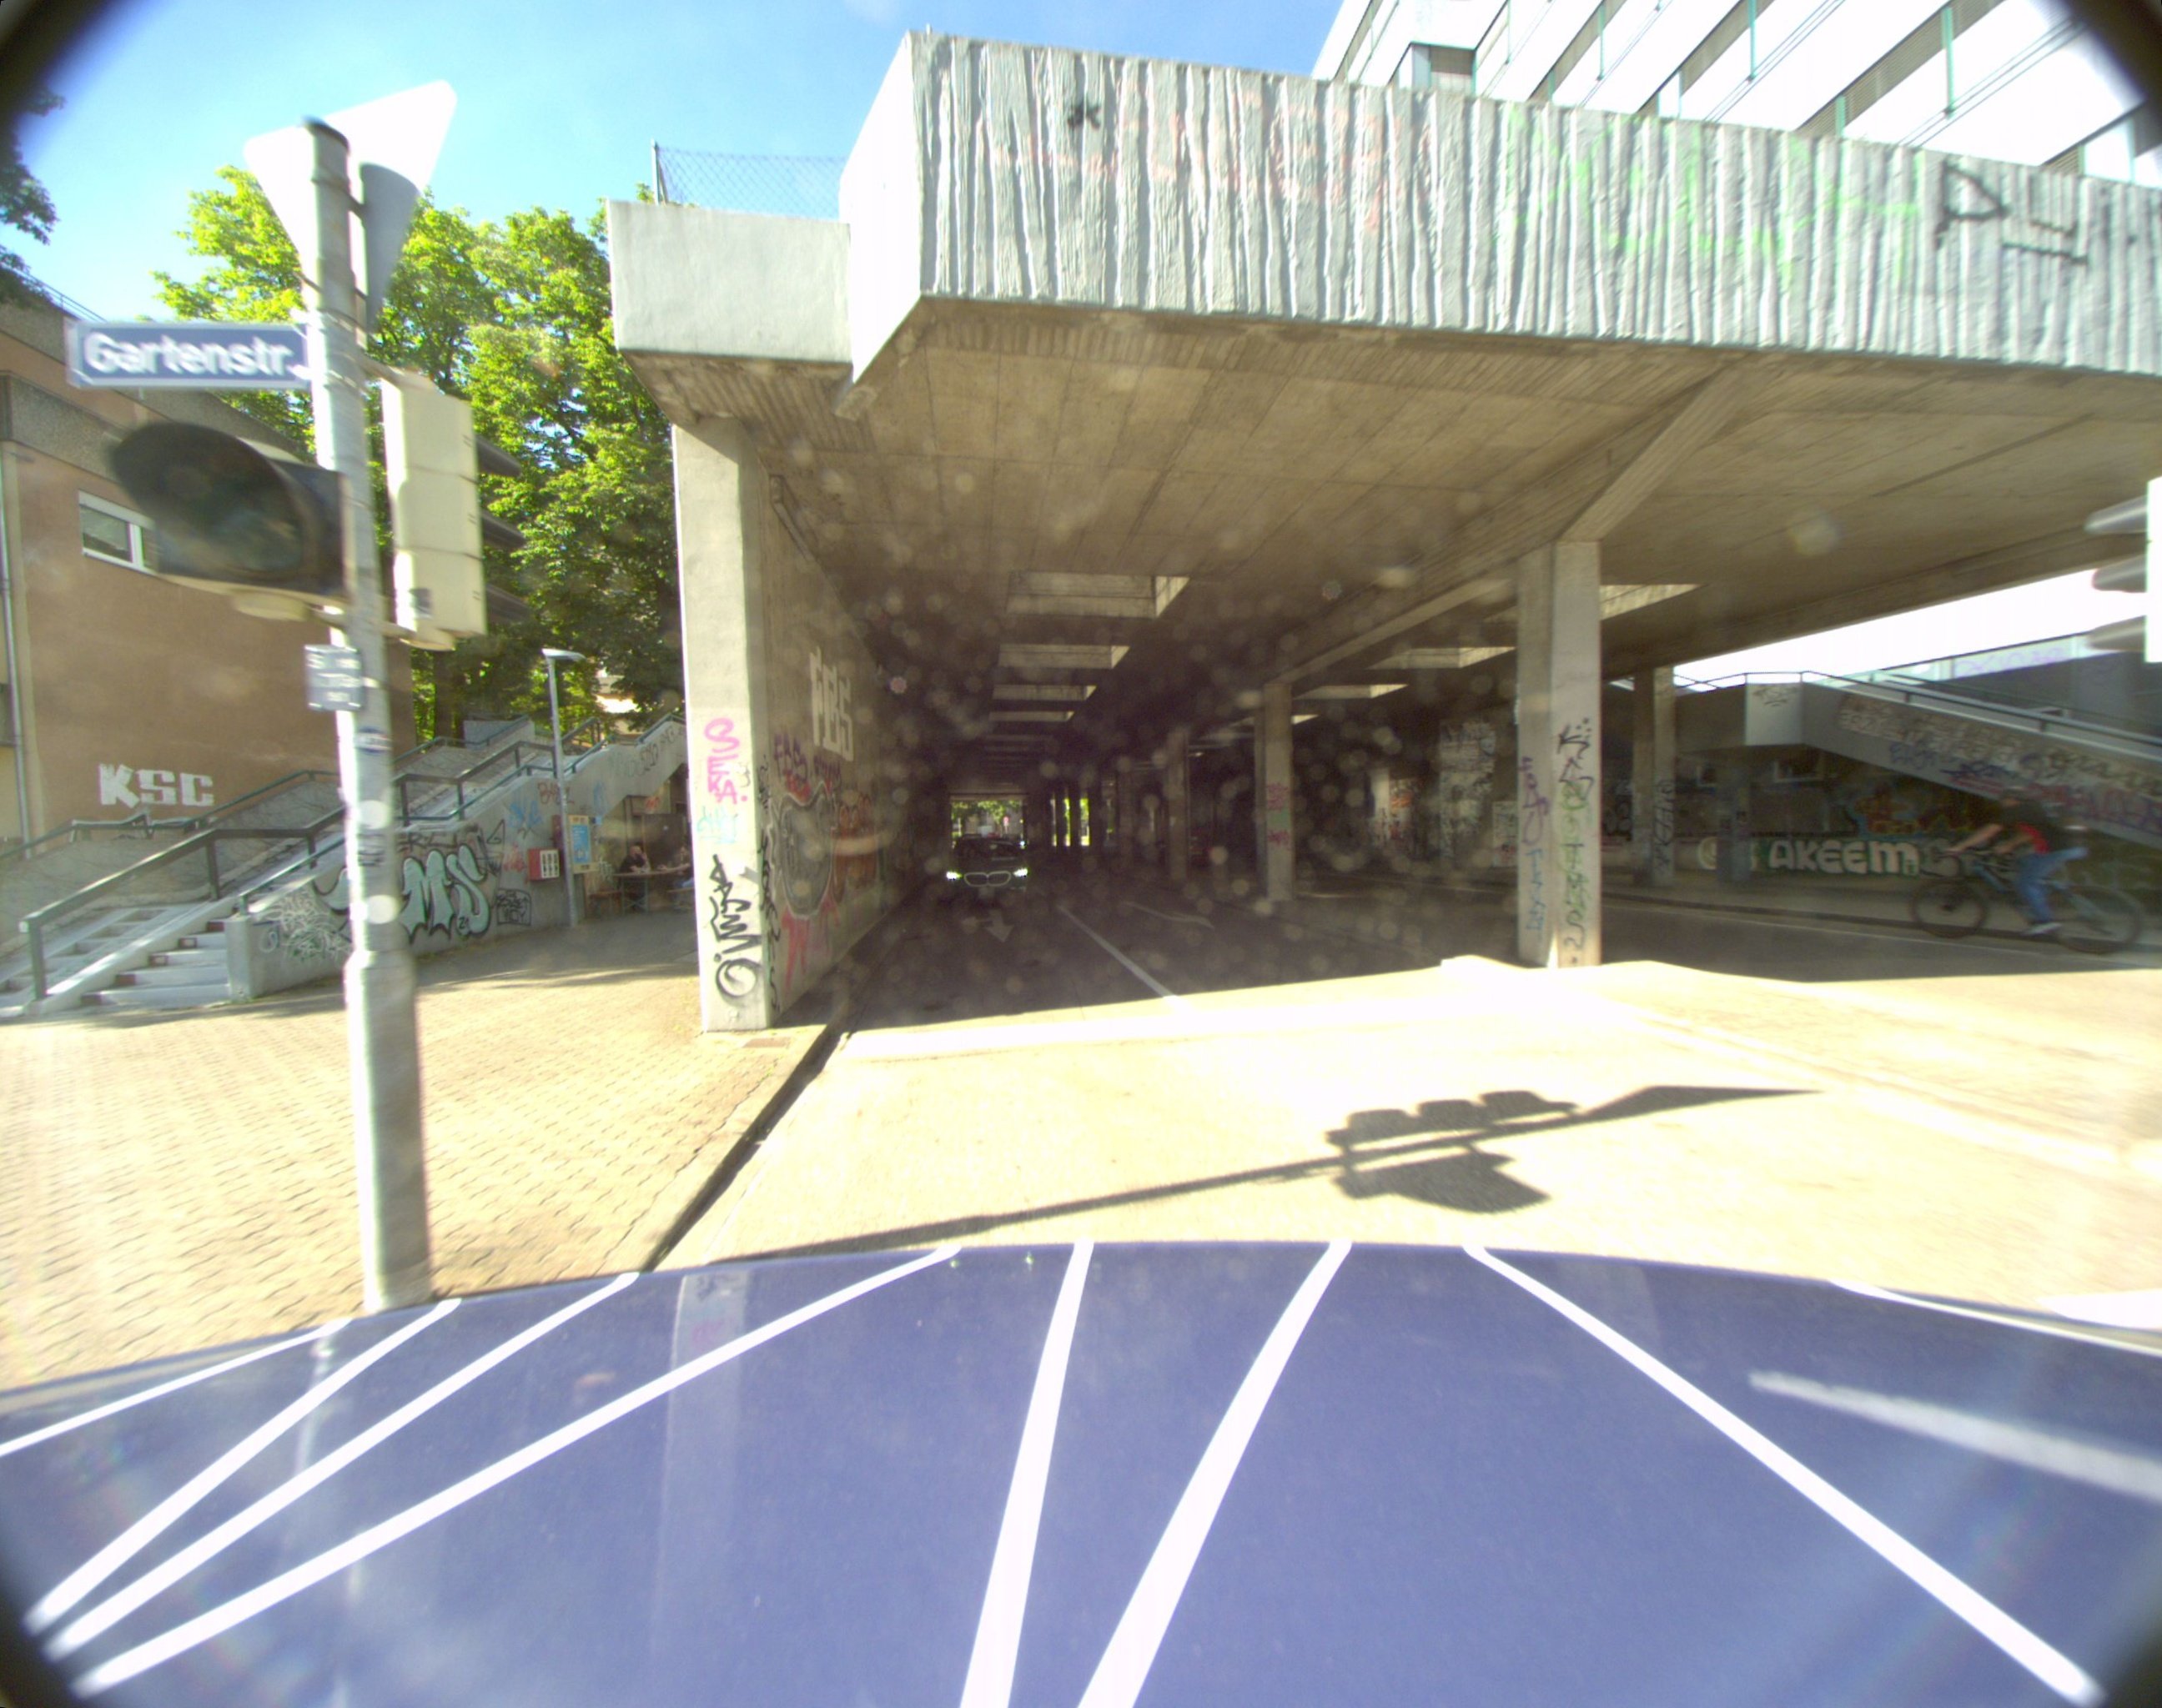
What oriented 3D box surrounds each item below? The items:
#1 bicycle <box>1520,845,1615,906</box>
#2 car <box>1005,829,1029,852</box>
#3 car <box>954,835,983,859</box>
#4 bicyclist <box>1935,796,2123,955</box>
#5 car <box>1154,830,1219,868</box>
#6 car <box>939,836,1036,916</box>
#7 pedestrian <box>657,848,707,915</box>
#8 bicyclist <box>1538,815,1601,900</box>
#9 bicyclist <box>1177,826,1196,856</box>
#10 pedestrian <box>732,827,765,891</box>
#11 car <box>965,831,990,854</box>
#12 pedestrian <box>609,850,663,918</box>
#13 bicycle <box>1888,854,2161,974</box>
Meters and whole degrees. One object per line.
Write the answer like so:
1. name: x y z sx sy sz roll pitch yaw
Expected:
1. bicycle: 9.661 0.394 15.169 0.527 1.084 1.858 -2 2 -8
2. car: -4.745 -1.014 56.140 1.617 1.546 4.009 -2 2 -7
3. car: -7.008 -0.497 47.627 1.617 1.367 4.195 -2 2 -7
4. bicyclist: 10.523 0.208 8.486 0.784 1.651 1.030 -2 2 -6
5. car: 4.315 -0.256 31.480 1.663 1.433 3.459 -2 2 -10
6. car: -2.250 0.391 18.361 1.958 1.547 5.035 -2 2 -7
7. pedestrian: -8.109 0.551 15.458 0.724 1.291 0.589 -2 3 -14
8. bicyclist: 9.663 0.054 15.058 0.607 1.623 0.909 -2 2 -8
9. bicyclist: 5.988 -0.732 43.199 0.748 1.702 0.966 -2 1 -9
10. pedestrian: -8.932 0.129 20.437 0.658 1.682 0.589 -2 3 -14
11. car: -7.284 -0.864 53.805 1.617 1.546 4.009 -2 2 -7
12. pedestrian: -8.907 0.582 15.229 0.740 1.291 0.612 -2 3 -14
13. bicycle: 10.506 0.590 8.539 0.543 1.117 2.057 -2 2 -6
